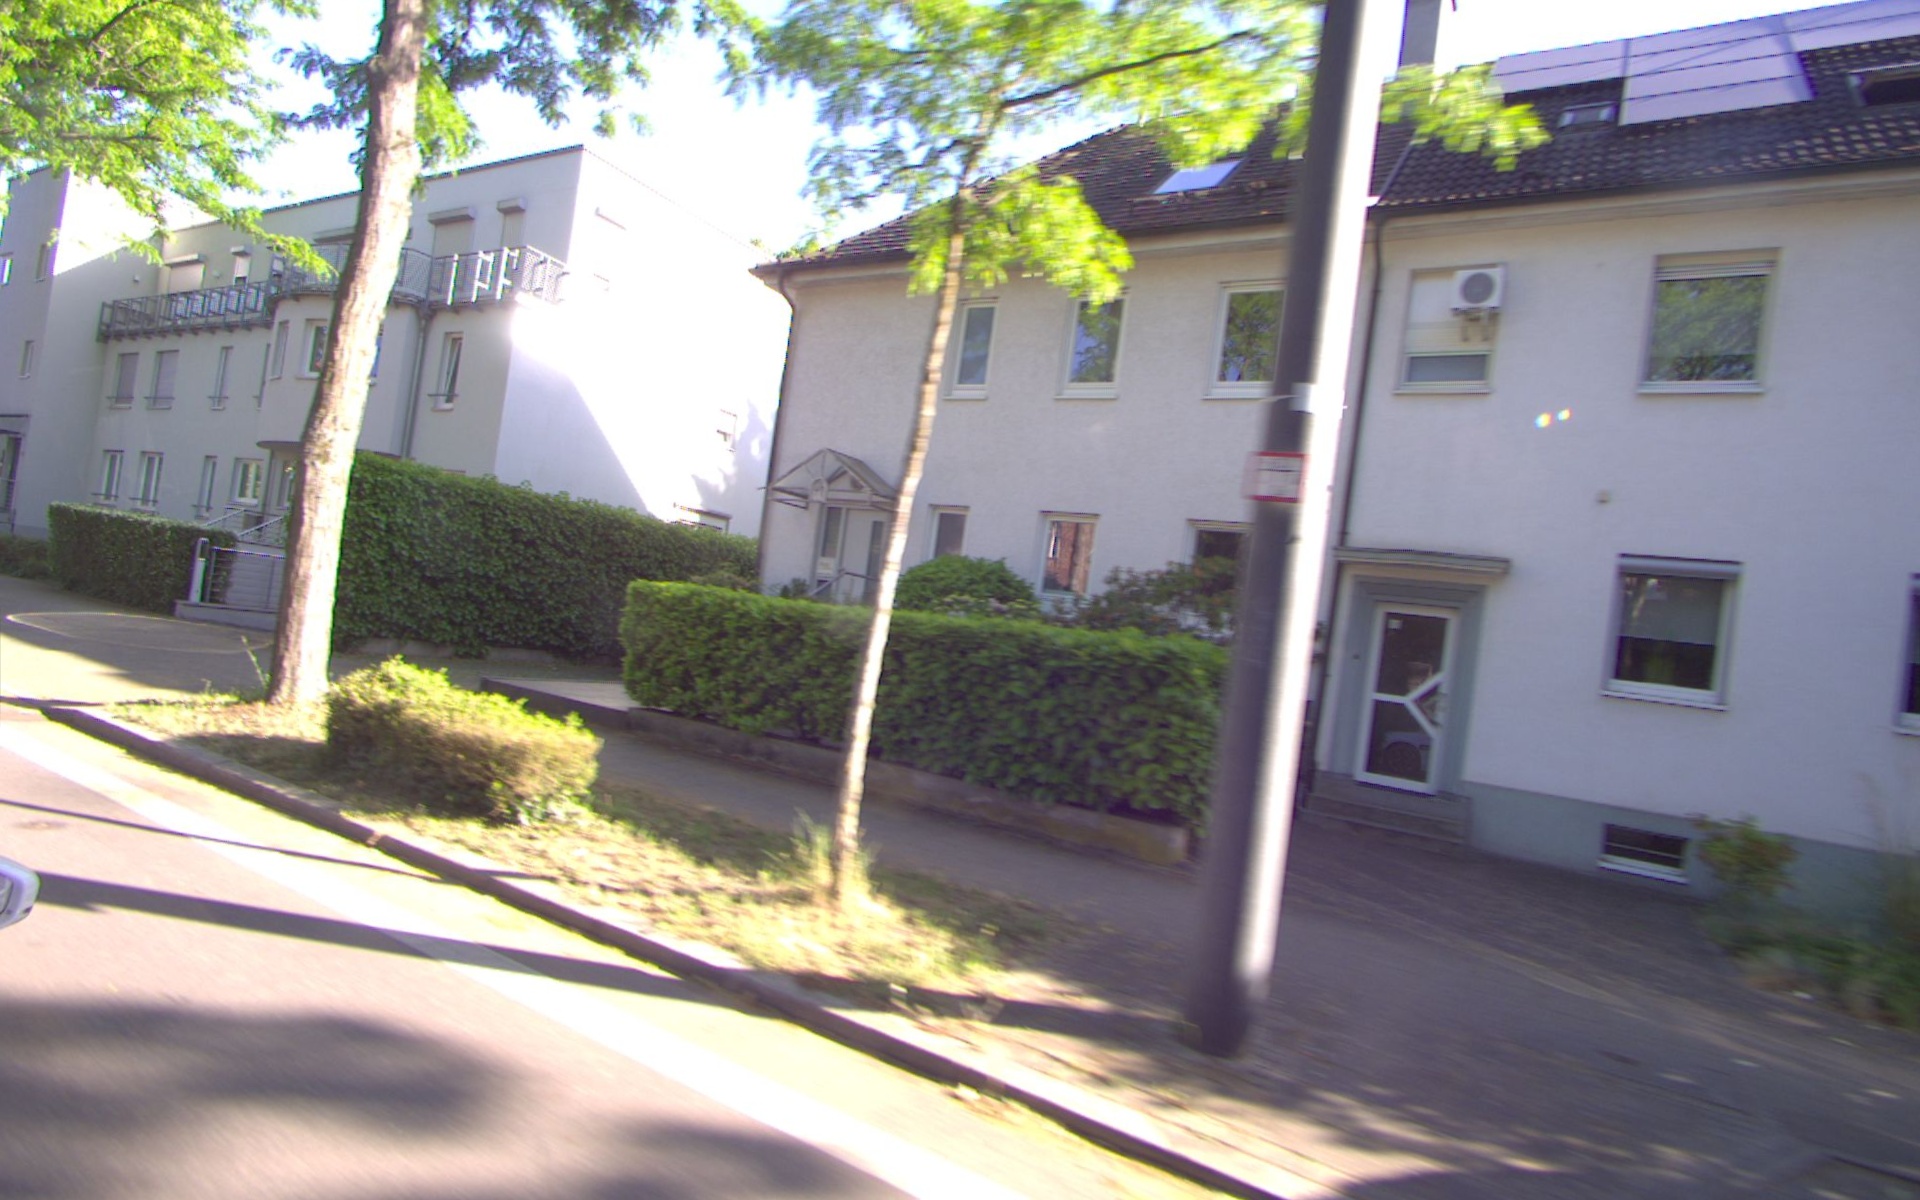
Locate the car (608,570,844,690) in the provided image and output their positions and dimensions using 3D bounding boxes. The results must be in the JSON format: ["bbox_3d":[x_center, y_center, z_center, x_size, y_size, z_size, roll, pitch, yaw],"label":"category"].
[{"bbox_3d":[-4.102,0.619,18.285,1.718,1.724,3.995,7,-2,31],"label":"car"}]

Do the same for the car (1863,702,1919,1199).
[{"bbox_3d":[5.487,1.012,1.562,5.492,2.687,2.248,7,0,31],"label":"car"}]
